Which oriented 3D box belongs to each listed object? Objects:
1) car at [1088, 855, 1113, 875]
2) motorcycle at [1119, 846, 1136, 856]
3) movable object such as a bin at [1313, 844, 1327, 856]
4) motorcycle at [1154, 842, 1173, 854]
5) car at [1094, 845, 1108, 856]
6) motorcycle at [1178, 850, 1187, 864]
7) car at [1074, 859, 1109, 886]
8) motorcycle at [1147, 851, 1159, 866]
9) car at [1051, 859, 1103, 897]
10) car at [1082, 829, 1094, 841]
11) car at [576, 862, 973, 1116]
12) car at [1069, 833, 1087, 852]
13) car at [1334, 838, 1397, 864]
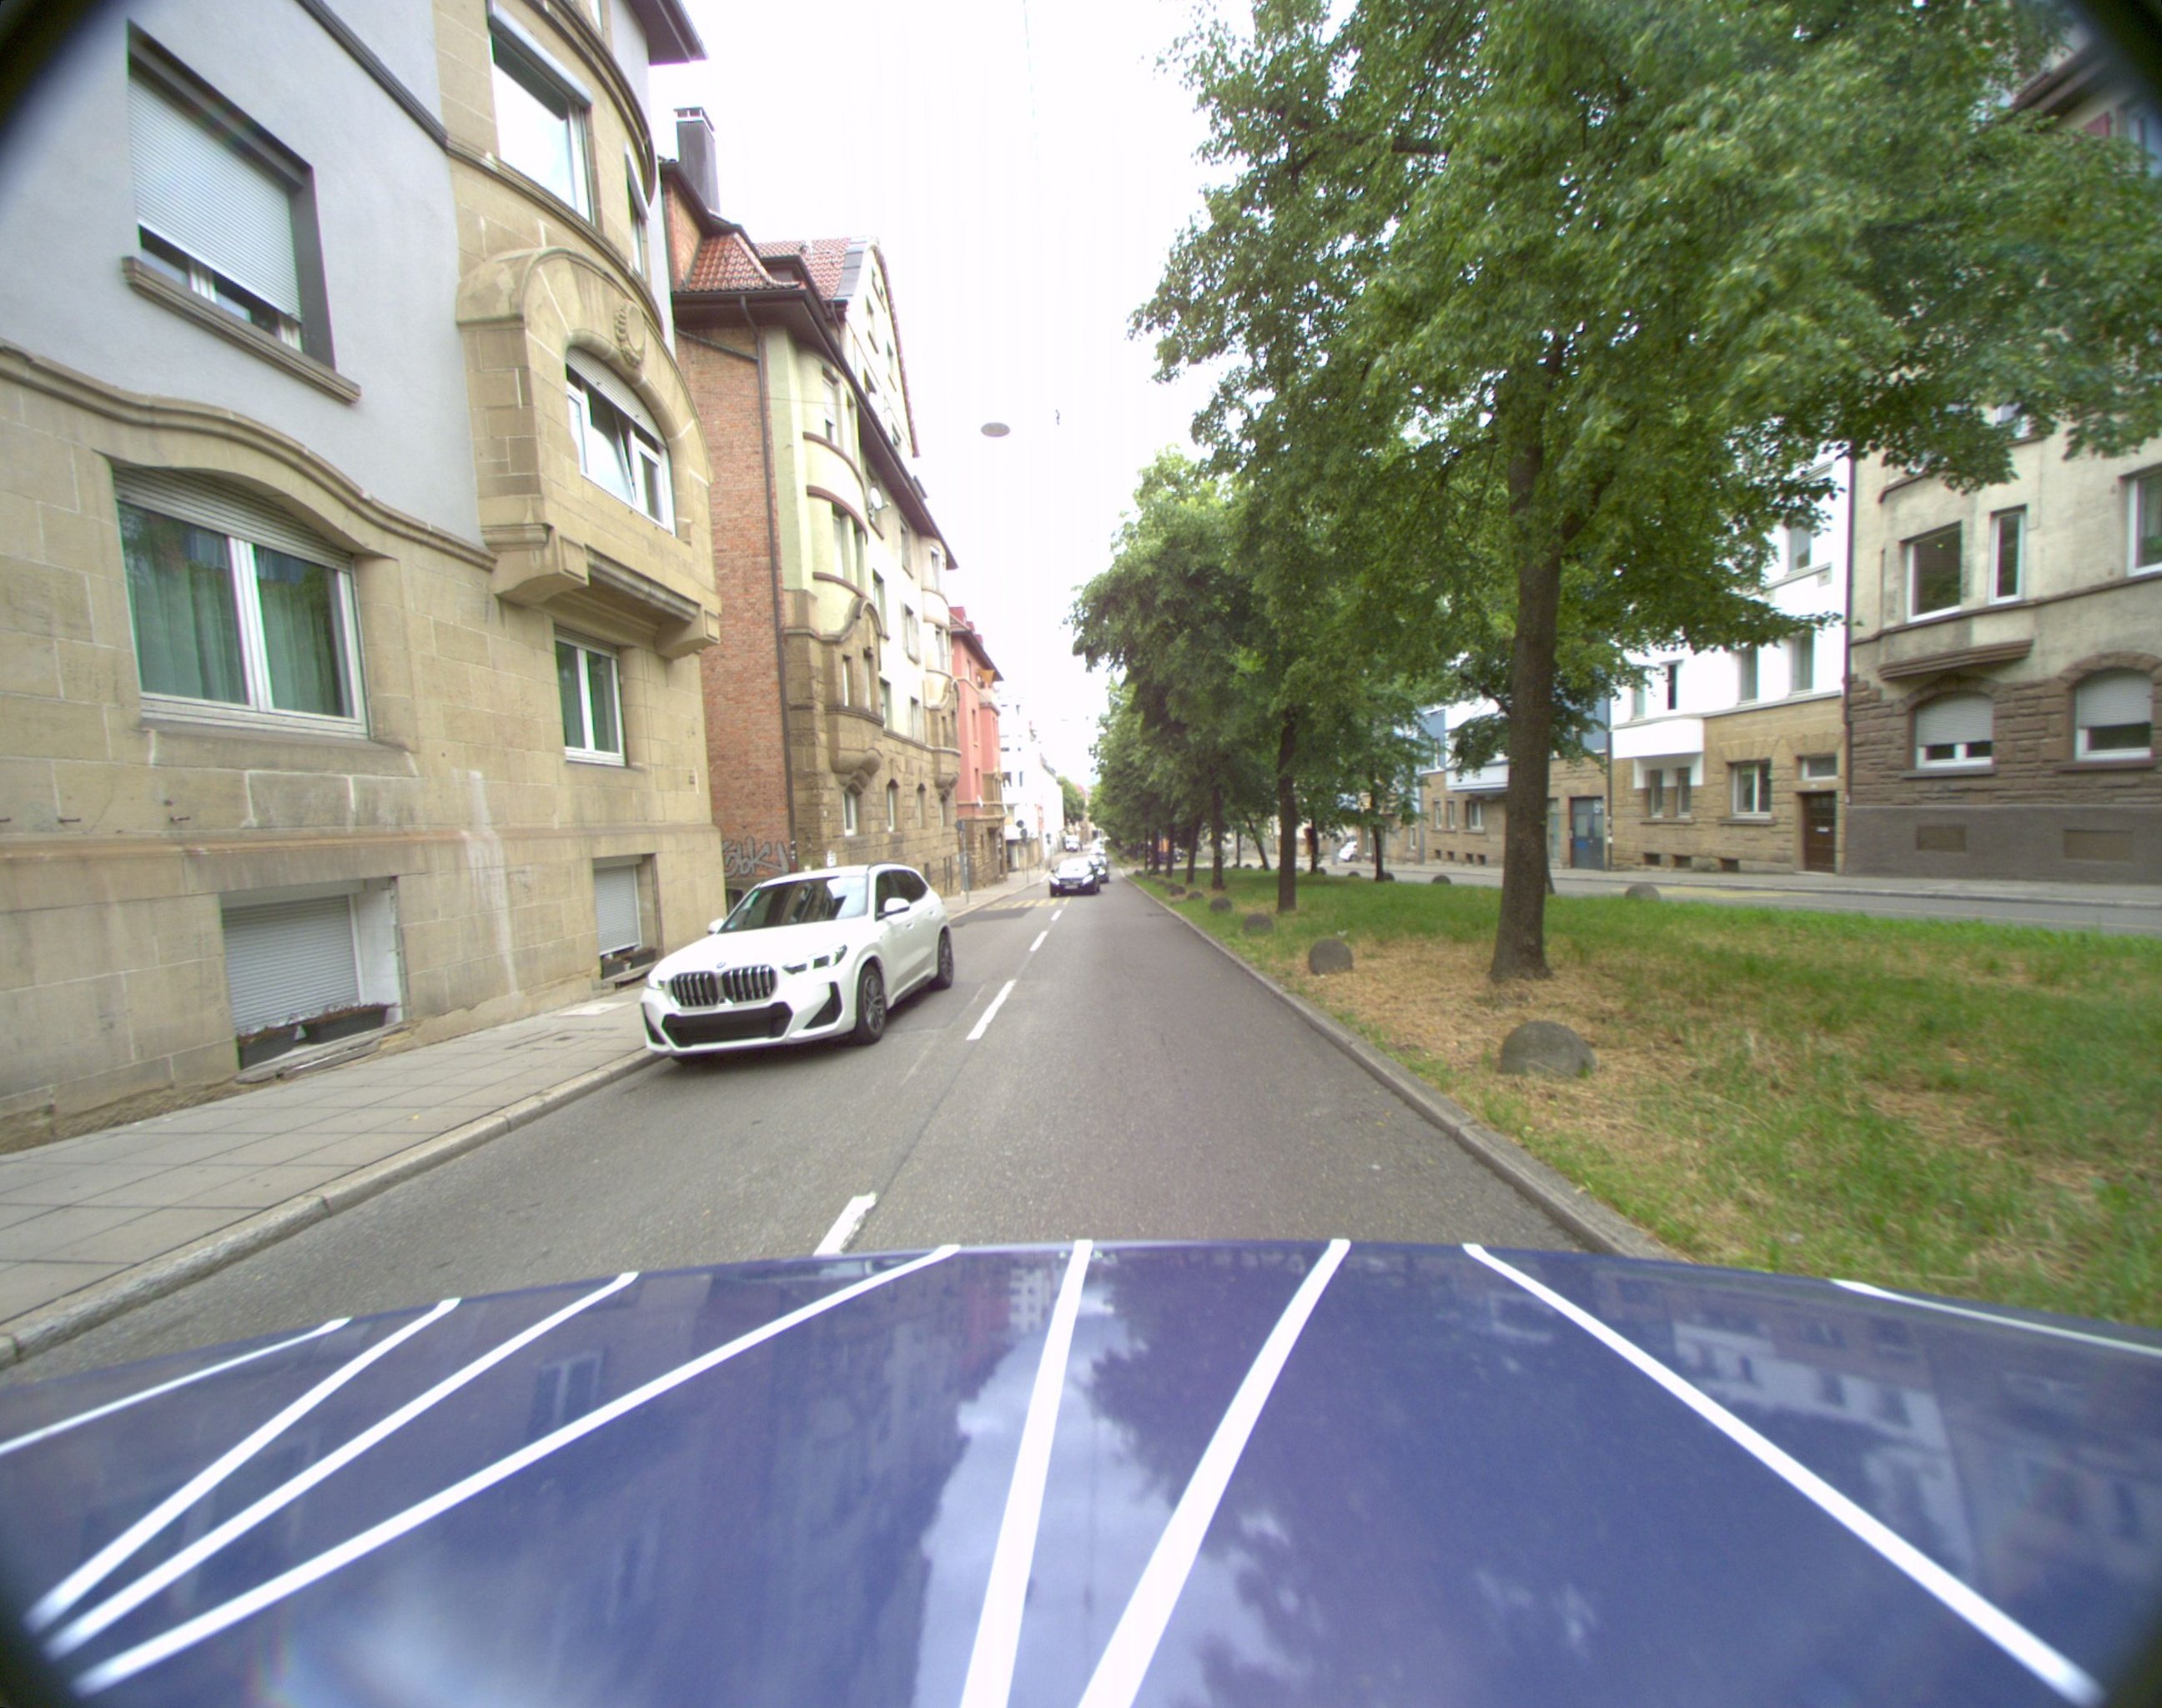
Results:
[{"bbox_3d":[1.484,0.805,57.225,1.783,1.420,4.281,-1,0,2],"label":"car"},{"bbox_3d":[5.774,-0.383,94.134,2.040,1.126,0.454,-3,4,2],"label":"motorcycle"},{"bbox_3d":[20.795,-0.346,66.083,0.888,0.988,0.668,-5,2,0],"label":"movable object such as a bin"},{"bbox_3d":[10.548,-0.745,97.317,2.424,1.475,0.963,-1,4,2],"label":"motorcycle"},{"bbox_3d":[2.700,-0.443,102.936,1.783,1.420,4.281,-1,0,2],"label":"car"},{"bbox_3d":[9.054,0.263,67.633,0.750,1.068,1.851,-3,3,9],"label":"motorcycle"},{"bbox_3d":[0.662,1.035,44.447,1.854,1.361,4.282,-2,0,3],"label":"car"},{"bbox_3d":[6.418,0.385,67.570,0.888,1.090,2.481,-3,3,9],"label":"motorcycle"},{"bbox_3d":[-0.101,0.936,31.526,1.854,1.361,4.282,-2,0,3],"label":"car"},{"bbox_3d":[1.875,-4.991,198.816,3.026,3.045,7.165,-2,2,0],"label":"car"},{"bbox_3d":[-2.659,1.060,8.024,1.854,1.595,4.564,-8,0,4],"label":"car"},{"bbox_3d":[-0.456,-2.117,134.077,3.026,3.045,7.165,-2,2,0],"label":"car"},{"bbox_3d":[22.002,-0.279,58.867,4.007,1.462,1.870,-7,3,-1],"label":"car"}]
